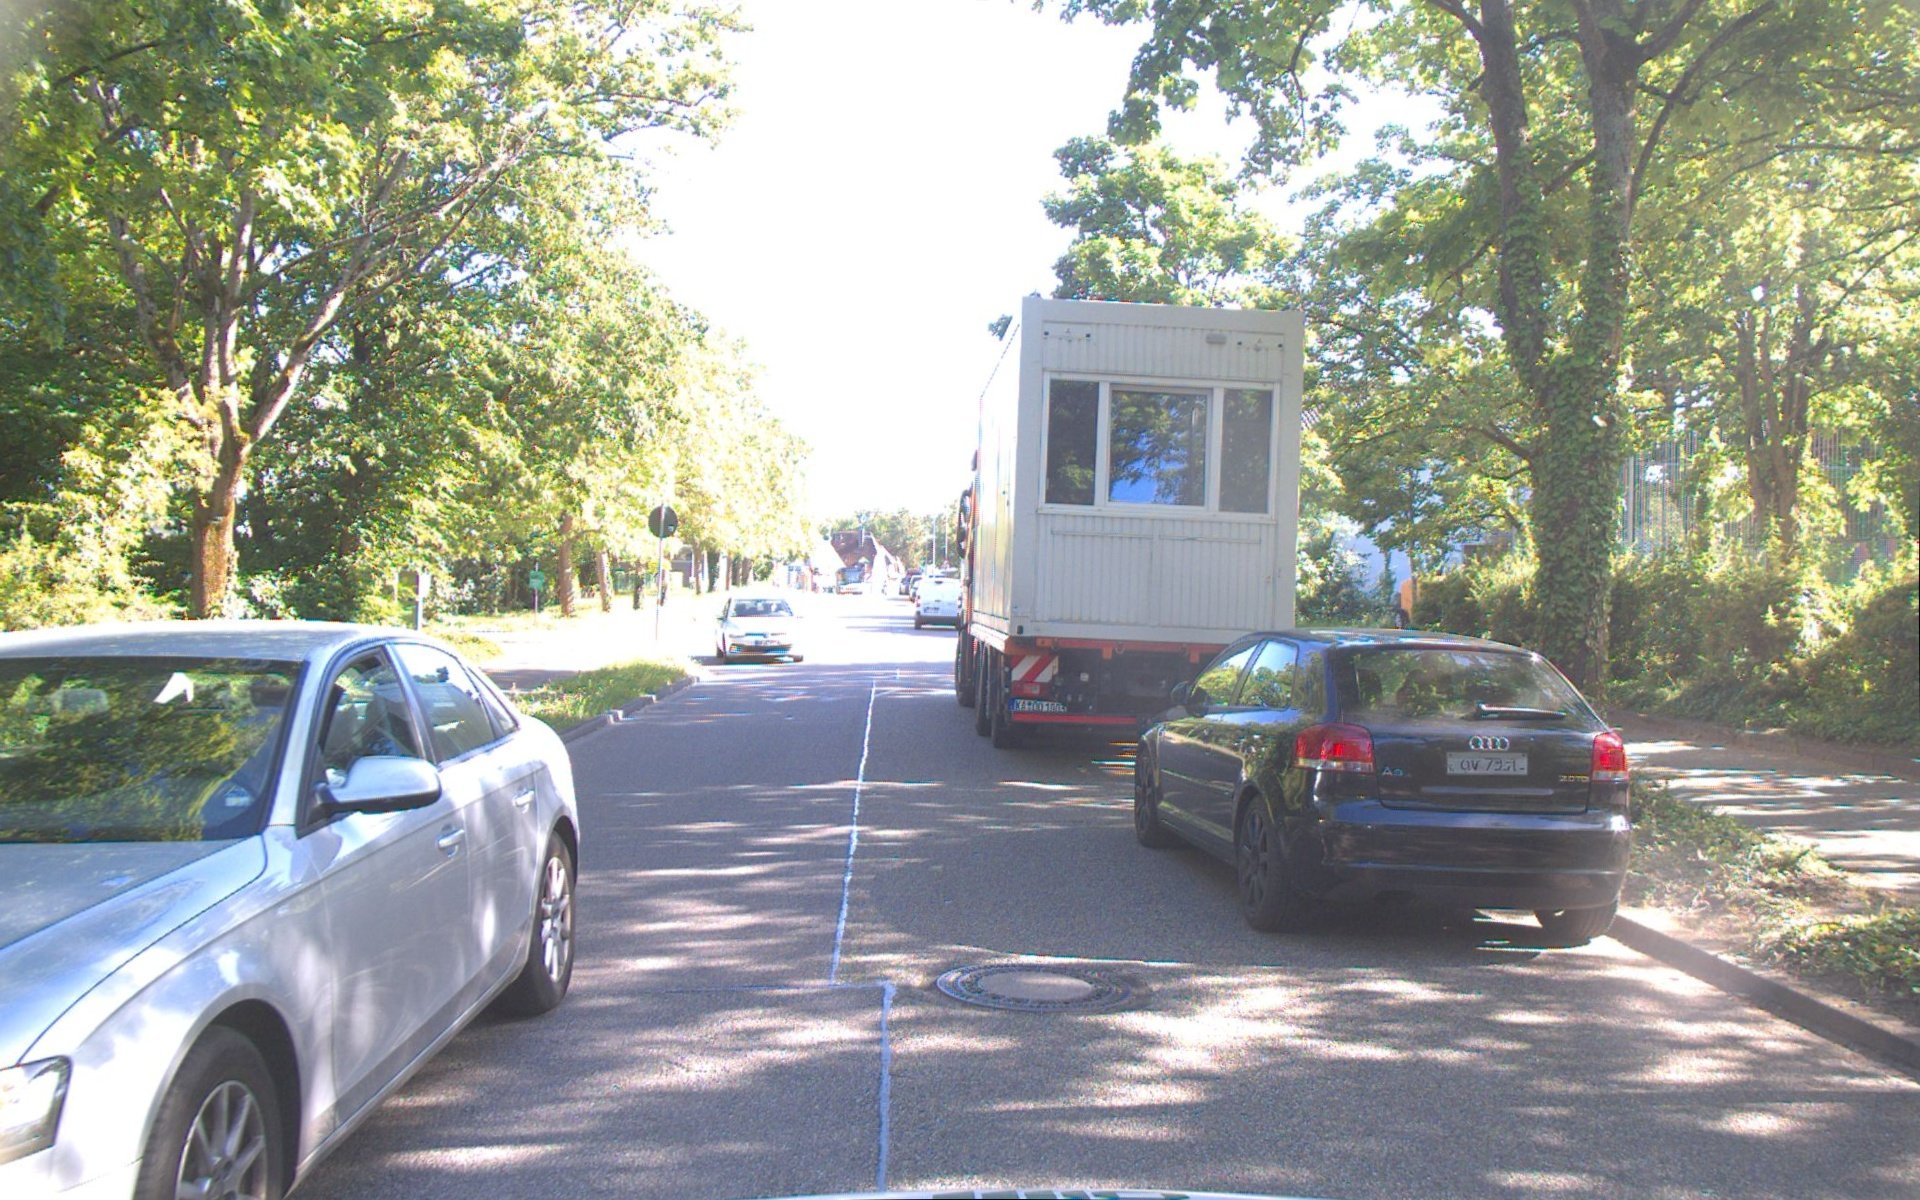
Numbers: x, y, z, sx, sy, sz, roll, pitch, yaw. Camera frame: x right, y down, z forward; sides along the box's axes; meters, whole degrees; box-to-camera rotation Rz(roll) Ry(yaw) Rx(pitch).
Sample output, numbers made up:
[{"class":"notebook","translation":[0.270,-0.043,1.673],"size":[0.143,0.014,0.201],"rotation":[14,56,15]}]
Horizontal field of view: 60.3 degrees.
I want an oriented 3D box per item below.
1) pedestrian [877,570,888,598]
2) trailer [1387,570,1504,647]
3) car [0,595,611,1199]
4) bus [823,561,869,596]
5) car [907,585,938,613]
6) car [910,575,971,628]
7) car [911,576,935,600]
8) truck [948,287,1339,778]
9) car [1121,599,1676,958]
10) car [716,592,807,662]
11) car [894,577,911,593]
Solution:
[{"class":"pedestrian","translation":[-6.053,-1.250,129.120],"size":[0.737,2.150,0.799],"rotation":[3,0,0]},{"class":"trailer","translation":[14.050,0.236,47.946],"size":[2.885,2.153,1.609],"rotation":[0,0,-5]},{"class":"car","translation":[-2.213,0.738,4.431],"size":[1.750,1.441,4.103],"rotation":[0,1,-1]},{"class":"bus","translation":[-11.506,-2.214,167.769],"size":[3.982,3.407,9.800],"rotation":[0,1,0]},{"class":"car","translation":[-2.292,-0.081,101.221],"size":[1.746,1.681,3.997],"rotation":[0,0,-3]},{"class":"car","translation":[-0.746,0.026,61.273],"size":[1.909,1.875,3.995],"rotation":[1,0,-6]},{"class":"car","translation":[-2.911,-0.935,130.486],"size":[1.746,1.840,3.997],"rotation":[0,0,-3]},{"class":"truck","translation":[1.531,-0.622,19.228],"size":[2.718,4.065,10.342],"rotation":[2,0,-3]},{"class":"car","translation":[2.070,0.766,9.014],"size":[1.608,1.445,3.996],"rotation":[2,1,-5]},{"class":"car","translation":[-4.501,0.553,37.073],"size":[1.773,1.445,3.949],"rotation":[-1,1,-11]},{"class":"car","translation":[-6.386,-1.647,182.916],"size":[1.746,1.840,3.997],"rotation":[0,0,-3]}]
